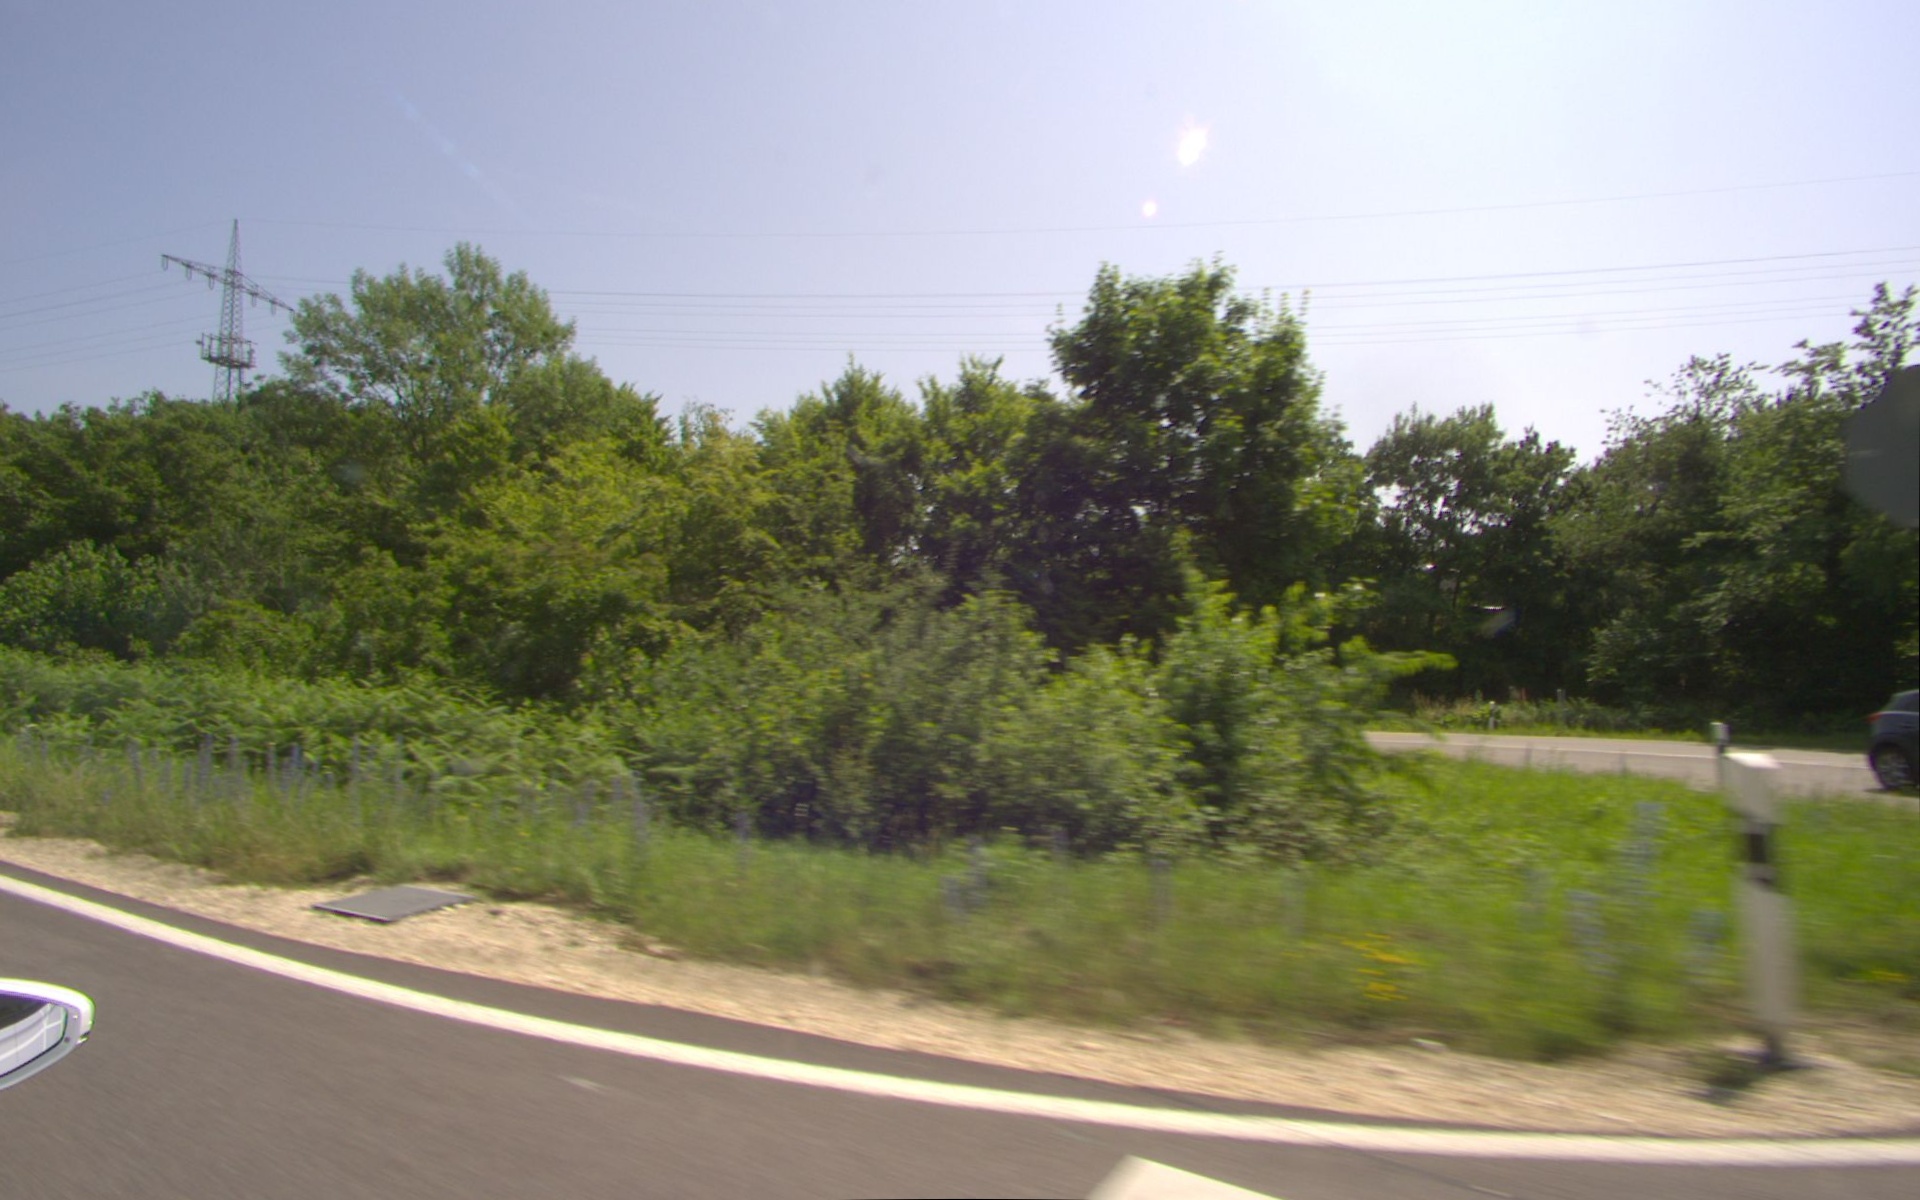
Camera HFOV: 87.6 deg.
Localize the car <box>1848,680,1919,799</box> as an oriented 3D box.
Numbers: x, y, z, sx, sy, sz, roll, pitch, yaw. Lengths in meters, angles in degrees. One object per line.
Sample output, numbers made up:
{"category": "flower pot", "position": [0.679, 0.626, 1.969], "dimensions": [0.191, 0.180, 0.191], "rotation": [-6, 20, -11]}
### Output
{"category": "car", "position": [13.936, 1.794, 12.653], "dimensions": [1.776, 1.616, 4.104], "rotation": [-1, -6, 2]}
